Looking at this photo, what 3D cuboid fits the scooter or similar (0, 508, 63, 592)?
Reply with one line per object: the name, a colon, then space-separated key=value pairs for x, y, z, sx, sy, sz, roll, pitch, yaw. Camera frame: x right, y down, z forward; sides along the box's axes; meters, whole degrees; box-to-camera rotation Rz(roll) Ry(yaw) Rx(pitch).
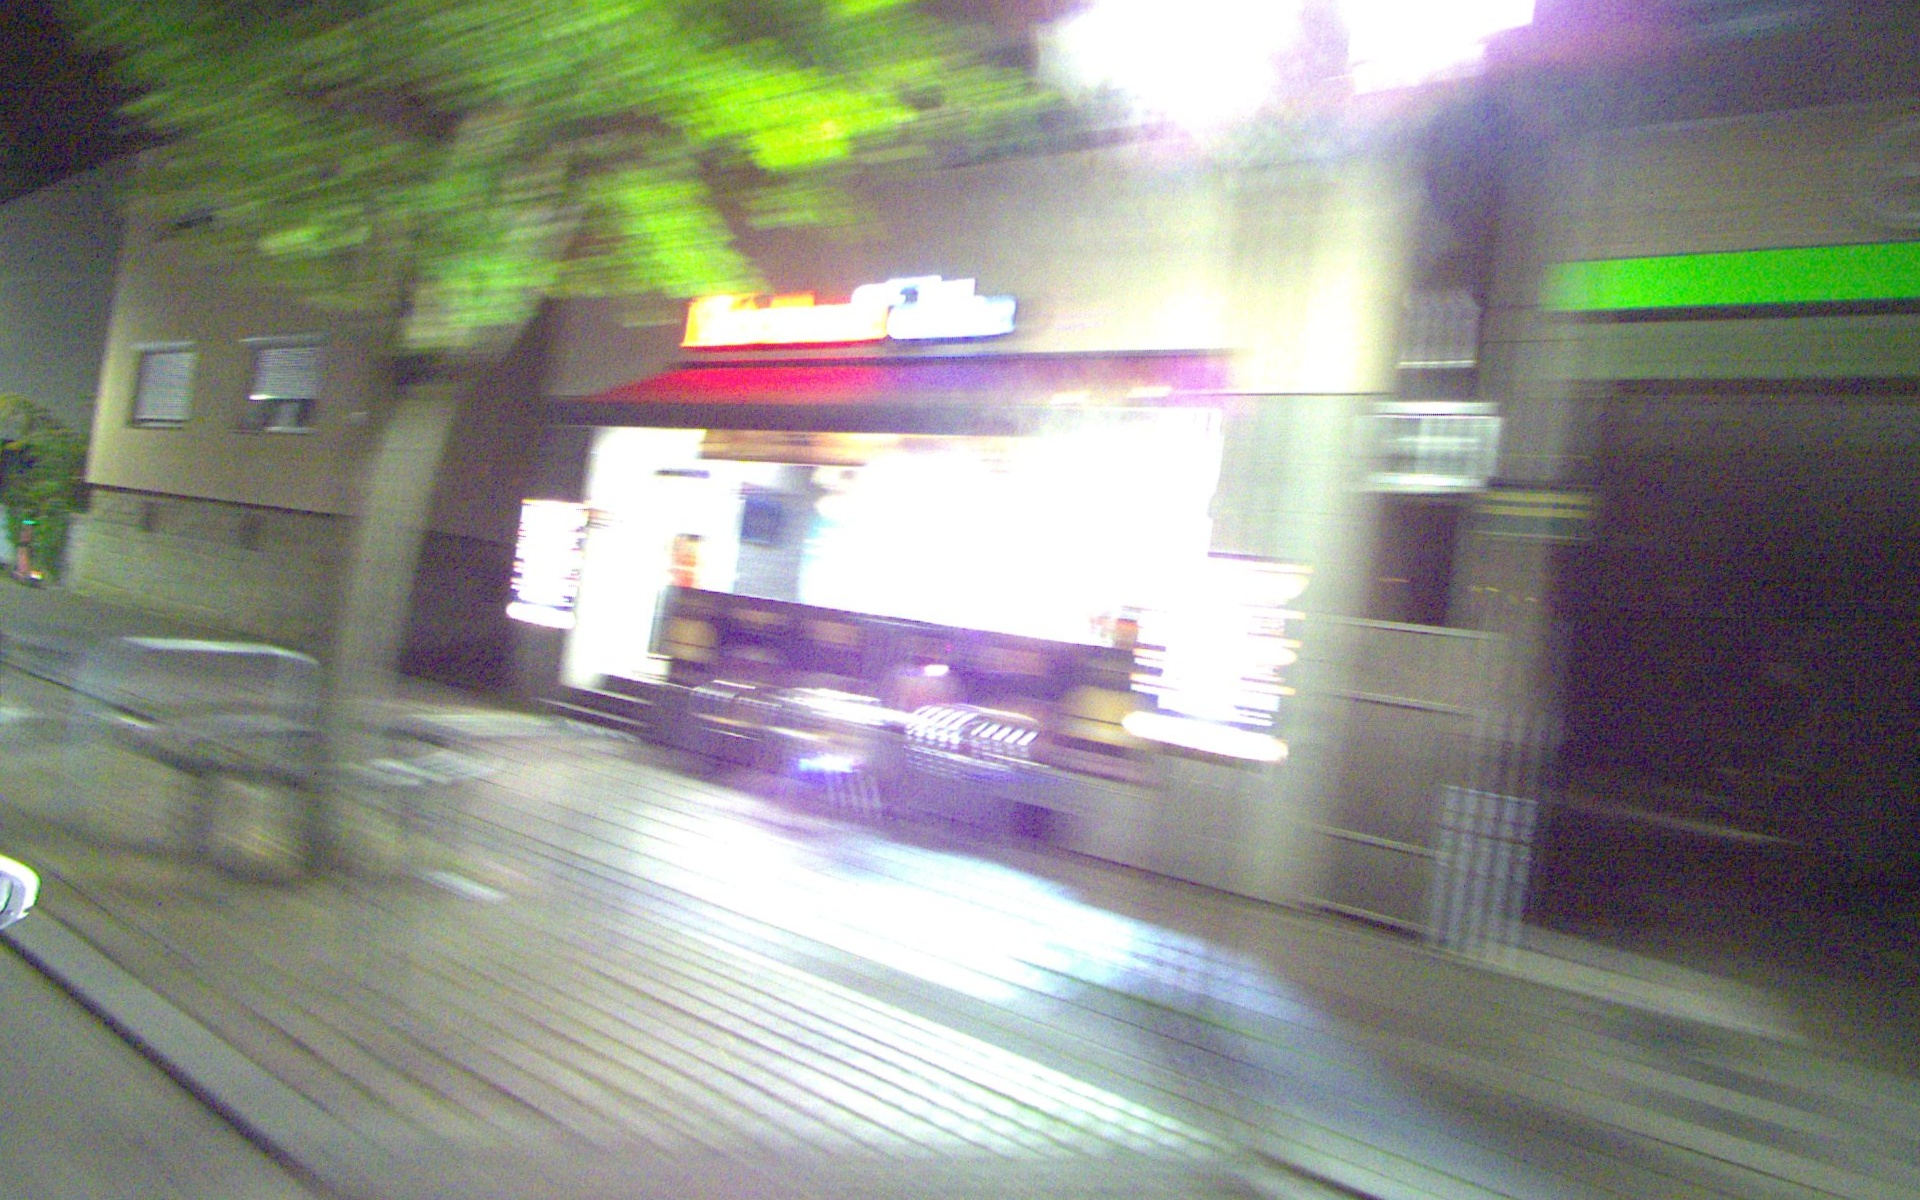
scooter or similar: x=-15.500 y=-0.839 z=16.787 sx=1.284 sy=1.292 sz=0.373 roll=6 pitch=-1 yaw=33
